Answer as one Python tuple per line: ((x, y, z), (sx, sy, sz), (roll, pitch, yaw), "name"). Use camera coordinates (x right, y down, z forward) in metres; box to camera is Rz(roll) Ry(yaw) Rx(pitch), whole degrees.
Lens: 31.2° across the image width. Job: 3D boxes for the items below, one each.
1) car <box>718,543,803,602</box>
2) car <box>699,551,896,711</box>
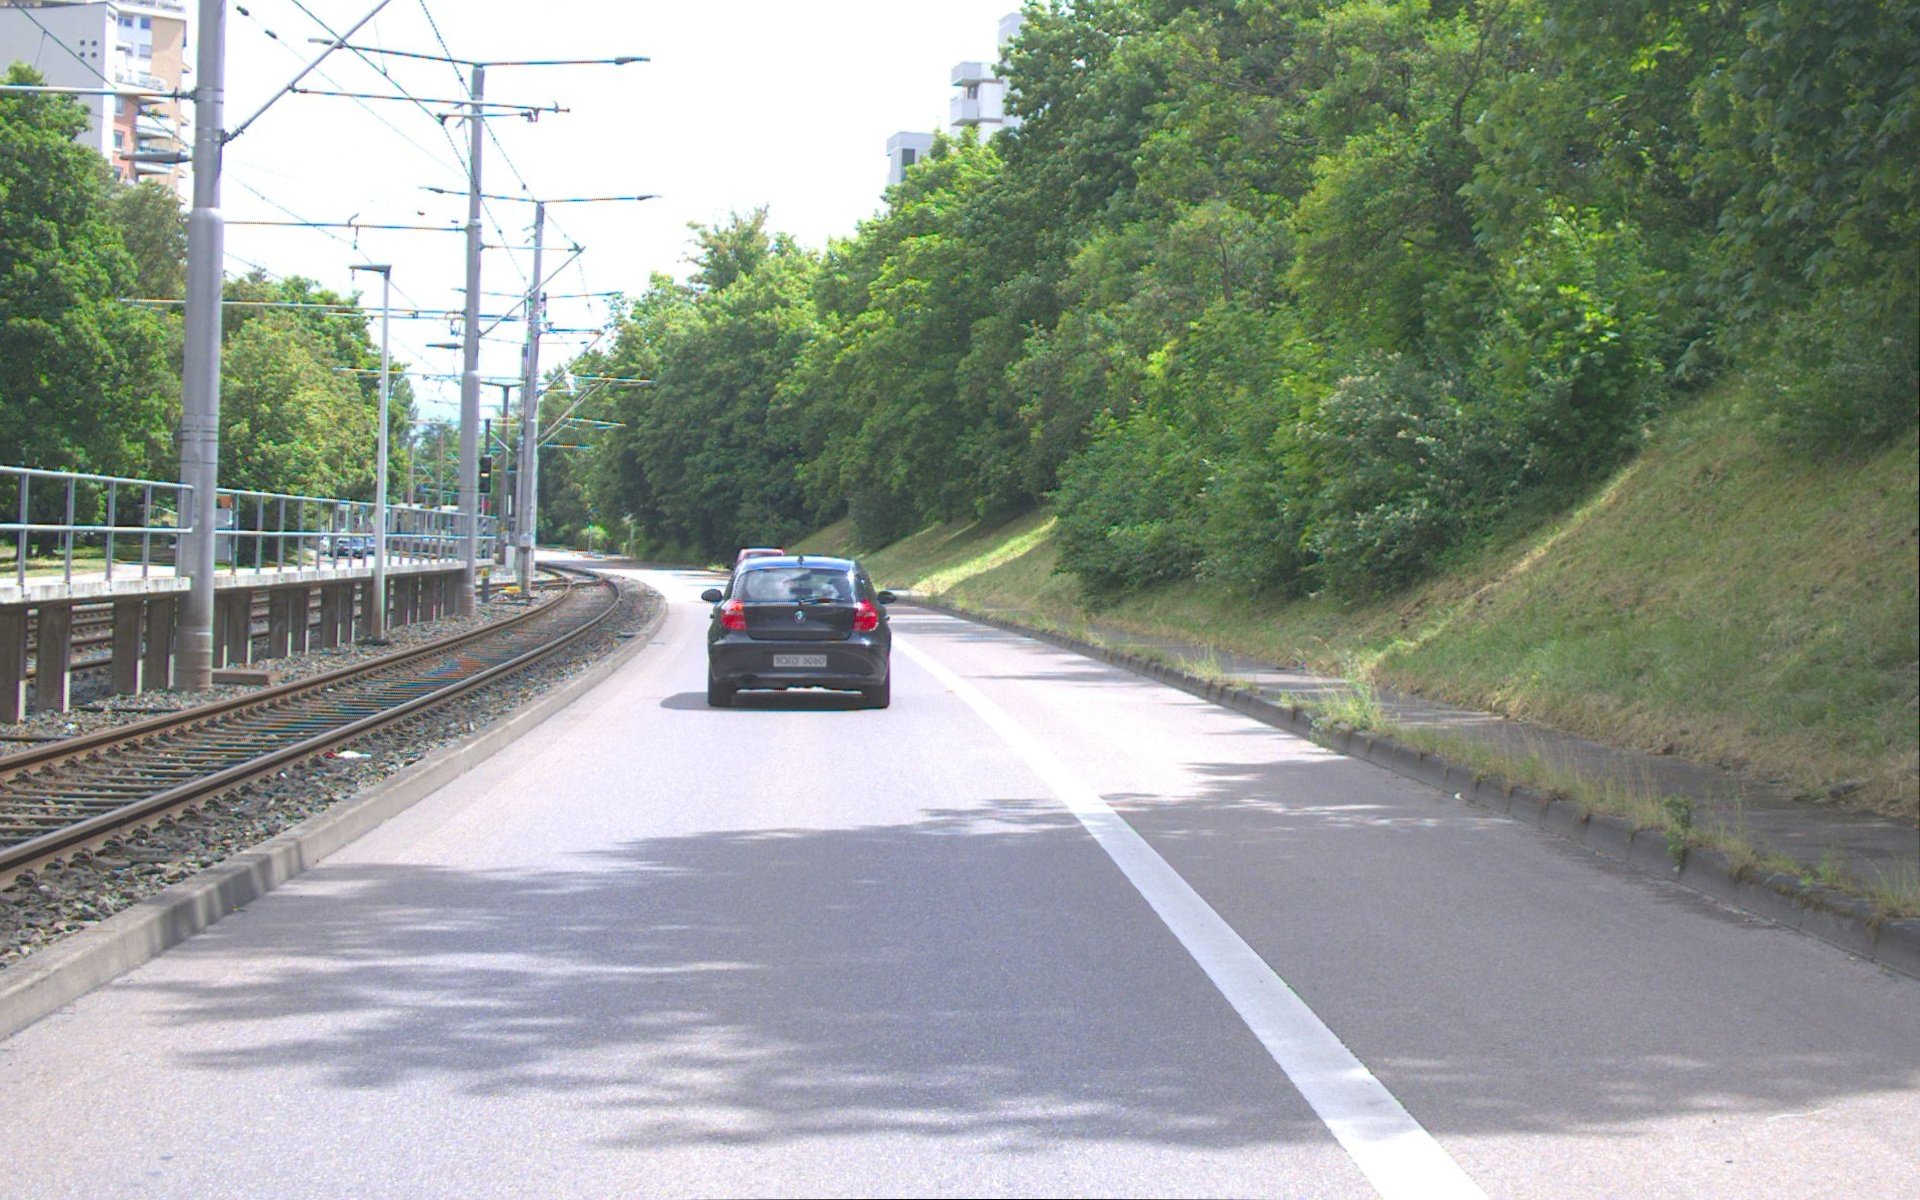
((-5.235, -0.729, 89.935), (1.781, 1.454, 3.922), (1, 1, -9), "car")
((-1.597, 0.256, 33.237), (1.781, 1.454, 3.921), (0, 1, -3), "car")
